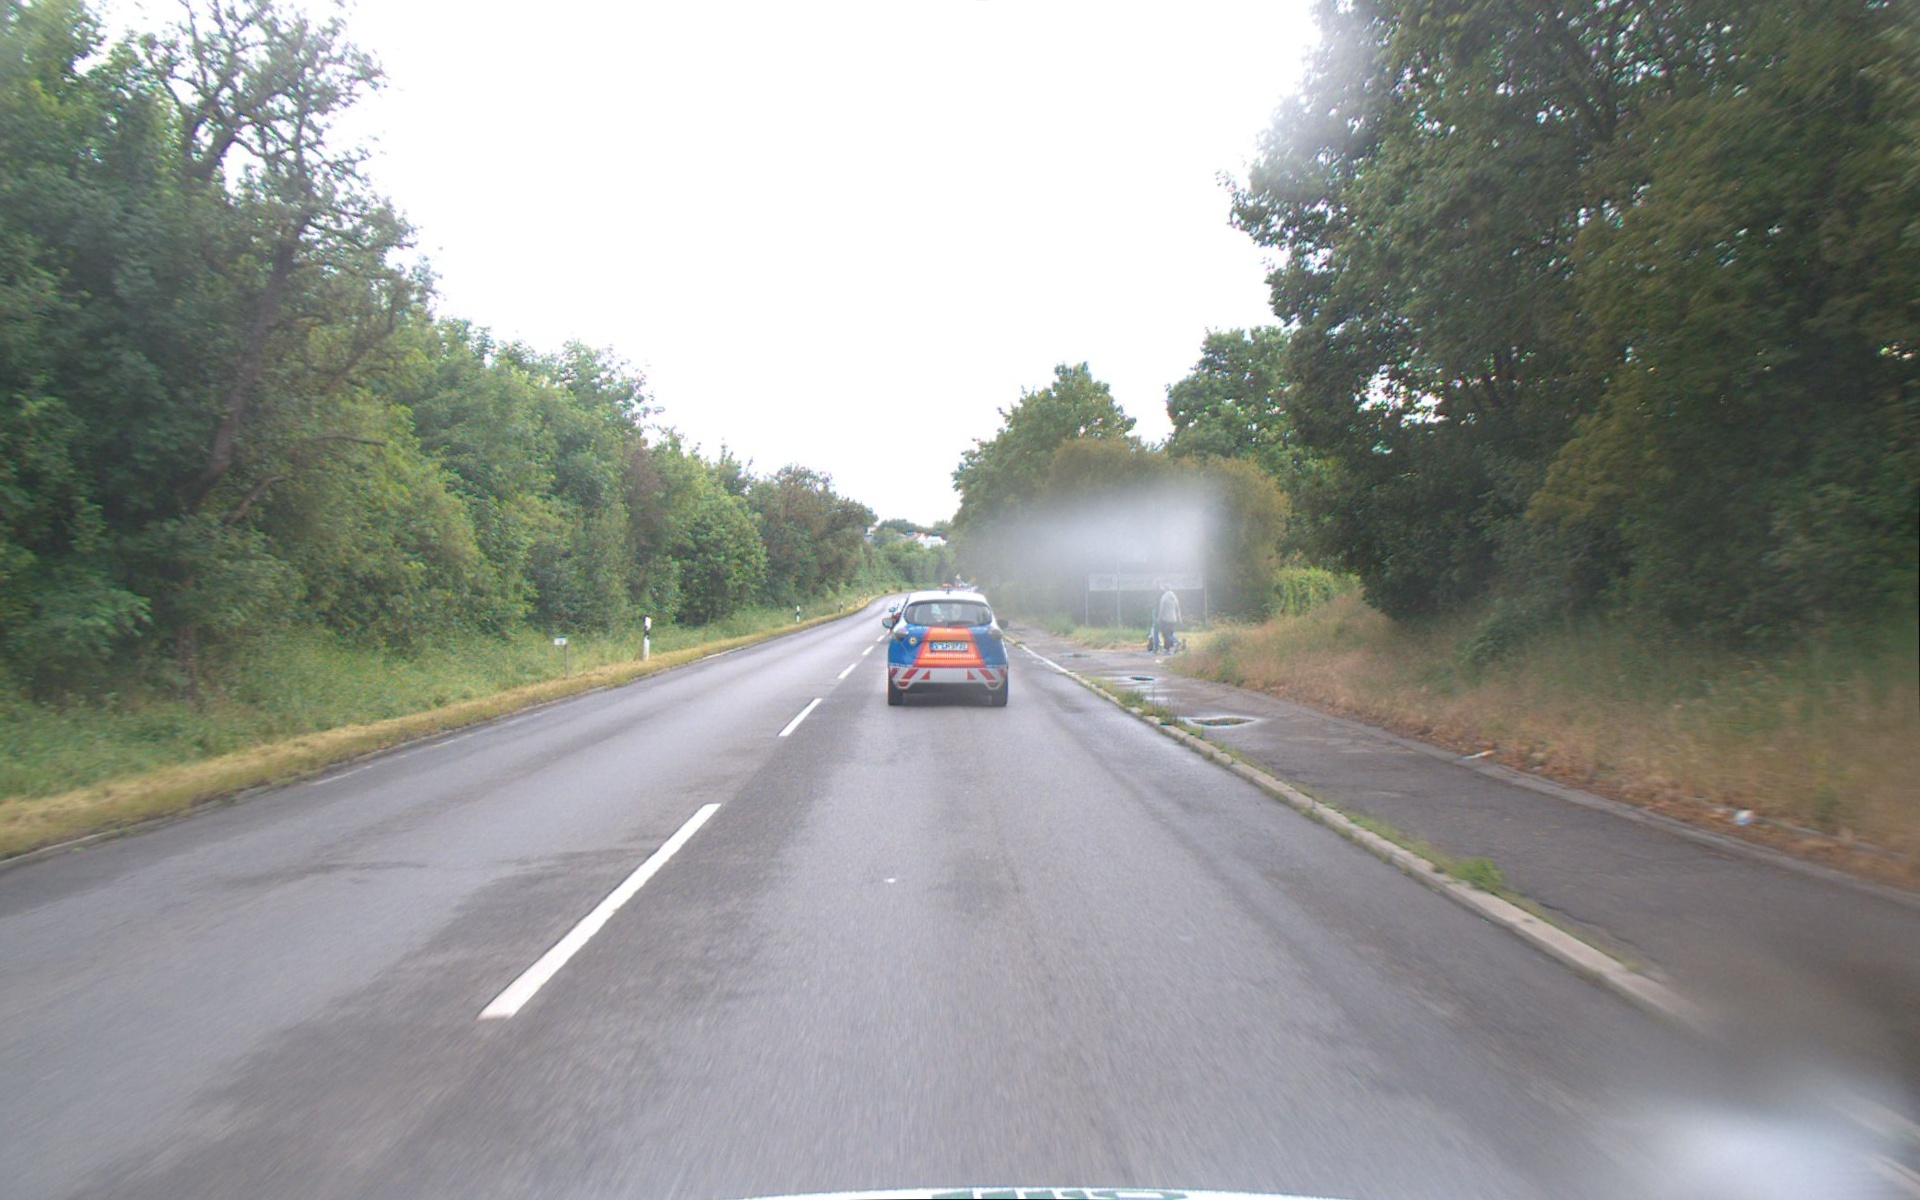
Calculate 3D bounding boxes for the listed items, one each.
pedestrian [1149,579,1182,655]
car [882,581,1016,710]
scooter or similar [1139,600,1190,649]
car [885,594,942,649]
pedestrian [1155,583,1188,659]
[{"bbox_3d":[5.104,0.412,41.071,0.679,1.859,0.801,-1,0,-1],"label":"pedestrian"},{"bbox_3d":[-0.188,0.615,24.184,1.769,1.697,3.854,1,0,-1],"label":"car"},{"bbox_3d":[5.202,0.620,42.117,1.303,1.227,0.372,-1,-1,40],"label":"scooter or similar"},{"bbox_3d":[-1.460,0.648,51.766,1.660,1.623,3.854,1,0,-2],"label":"car"},{"bbox_3d":[5.113,0.510,40.093,0.647,1.809,0.760,-1,0,-1],"label":"pedestrian"}]
